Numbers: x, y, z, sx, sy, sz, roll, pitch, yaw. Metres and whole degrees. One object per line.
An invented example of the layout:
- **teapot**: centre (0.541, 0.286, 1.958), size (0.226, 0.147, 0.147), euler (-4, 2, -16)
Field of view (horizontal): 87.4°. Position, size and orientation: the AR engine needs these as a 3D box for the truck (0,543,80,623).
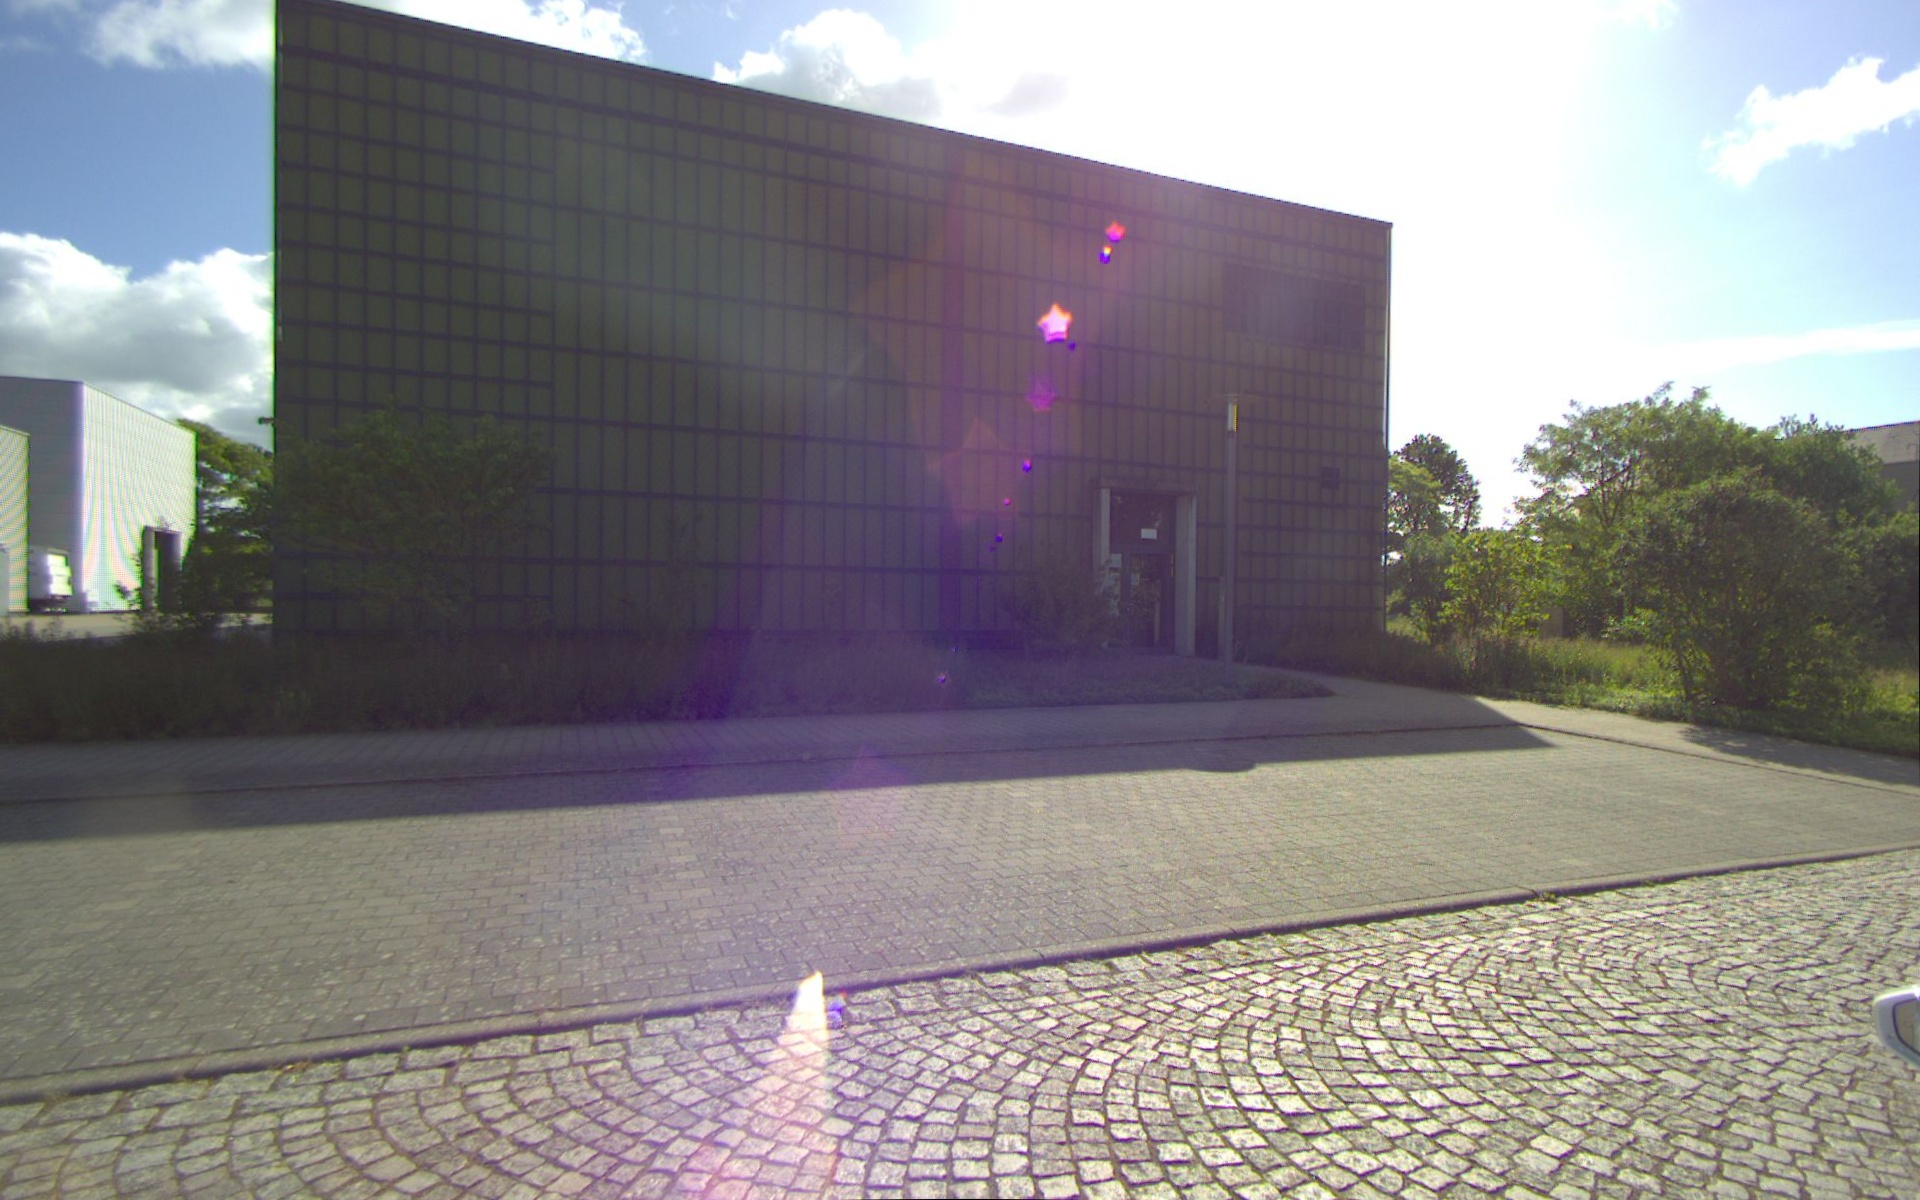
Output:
- **truck**: centre (-48.383, -0.835, 48.815), size (7.984, 3.869, 2.637), euler (1, 0, -22)
